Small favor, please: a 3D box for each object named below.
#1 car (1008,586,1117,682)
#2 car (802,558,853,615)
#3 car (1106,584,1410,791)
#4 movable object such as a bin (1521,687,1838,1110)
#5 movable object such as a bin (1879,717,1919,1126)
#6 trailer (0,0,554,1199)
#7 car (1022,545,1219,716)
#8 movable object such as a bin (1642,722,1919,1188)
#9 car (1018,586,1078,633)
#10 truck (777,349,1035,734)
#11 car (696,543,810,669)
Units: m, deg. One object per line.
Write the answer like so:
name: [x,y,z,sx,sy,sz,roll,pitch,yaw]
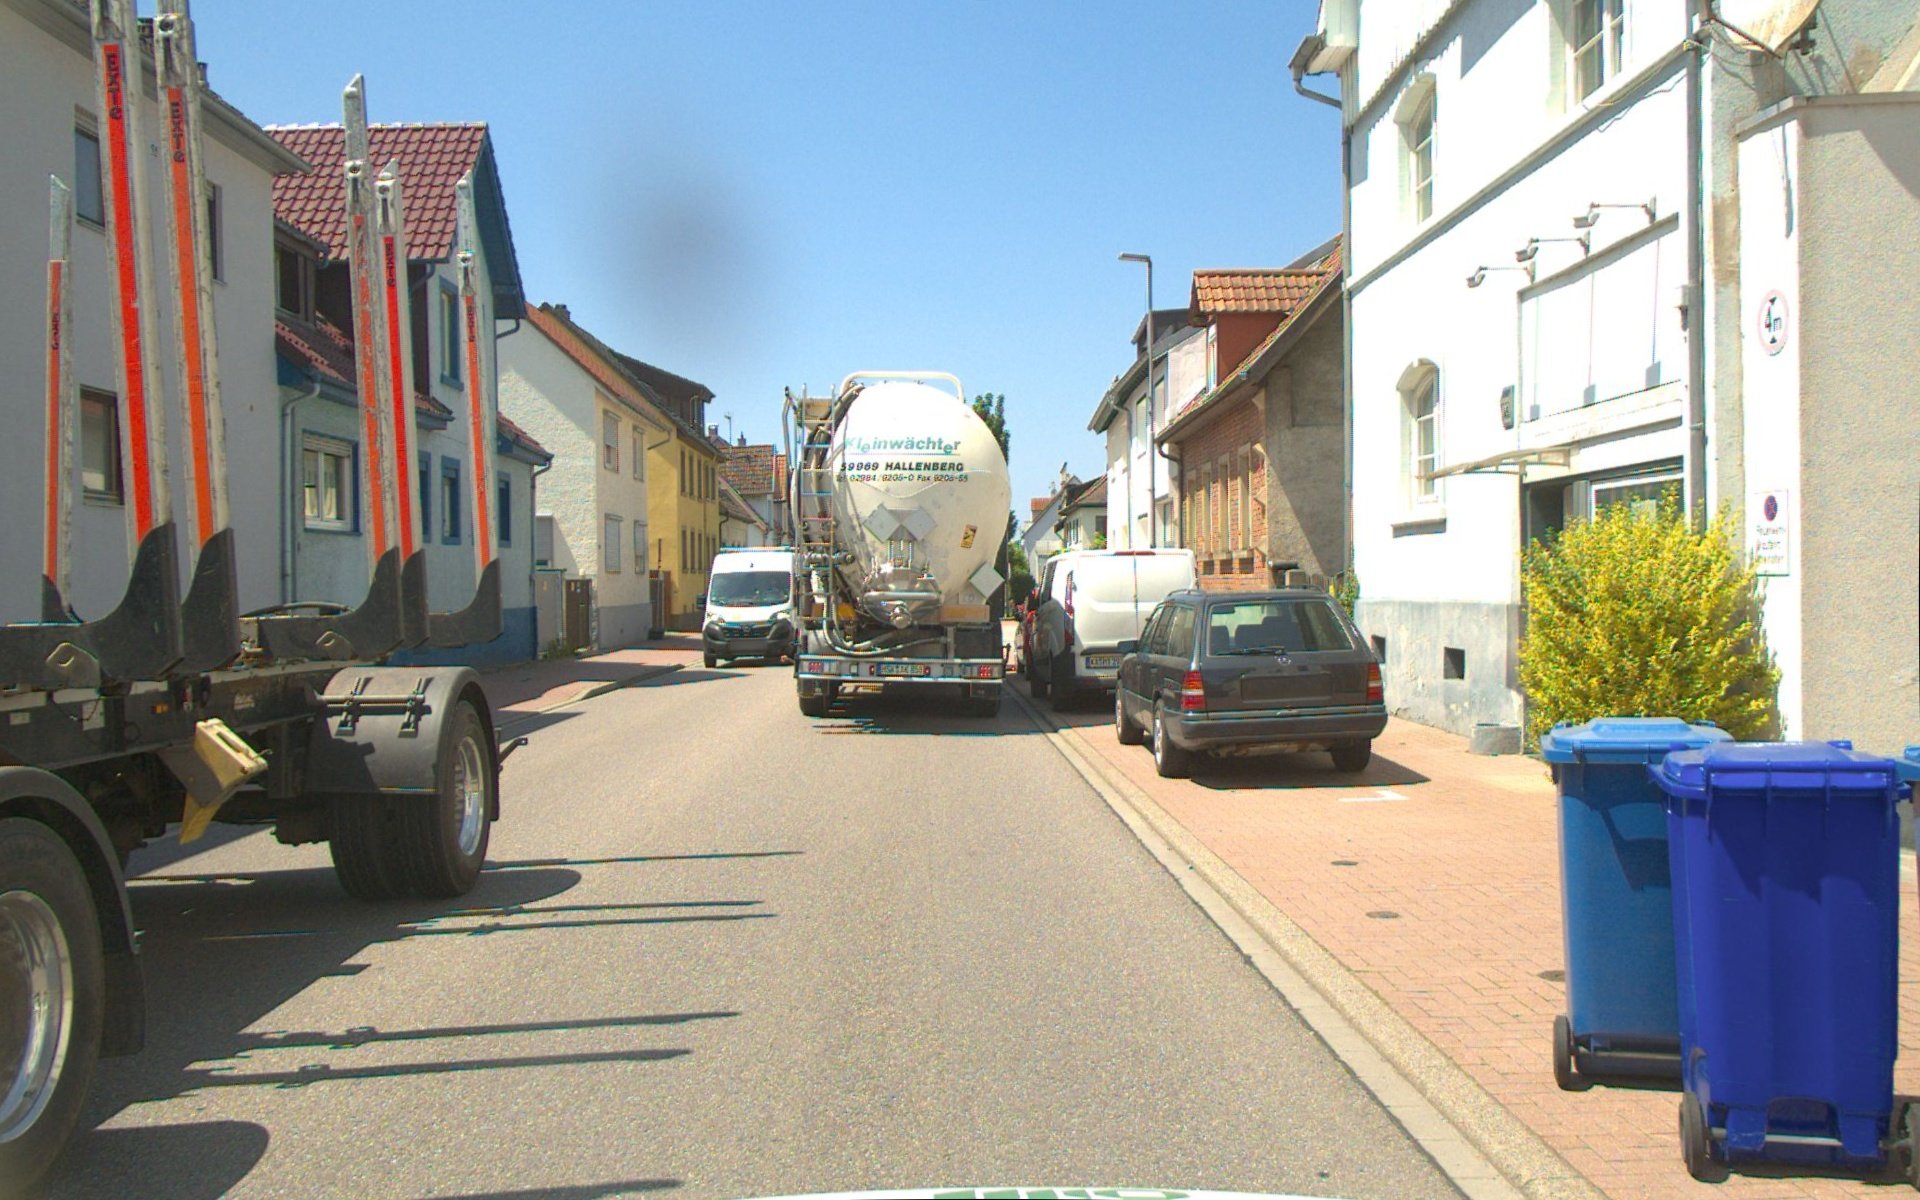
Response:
car: [1.756,0.543,29.256,1.577,1.555,3.675,-1,0,-2]
car: [-5.825,-0.597,73.397,2.010,2.395,6.078,-1,0,-3]
car: [2.406,0.625,14.511,1.734,1.491,4.576,-1,0,-1]
movable object such as a bin: [2.158,0.856,5.083,0.707,1.092,0.973,-2,0,14]
movable object such as a bin: [2.821,0.865,4.183,0.640,1.078,0.836,-2,0,14]
trailer: [-3.363,-0.519,1.652,2.578,4.048,15.690,-2,0,-2]
car: [2.024,0.345,22.274,1.907,2.005,4.782,-1,0,-3]
movable object such as a bin: [2.204,0.884,4.337,0.641,1.053,0.685,-2,0,14]
car: [3.247,0.315,60.233,1.777,1.488,4.889,4,1,7]
truck: [-0.717,-0.603,21.571,2.678,4.029,8.138,1,0,-2]
car: [-4.588,0.104,37.447,2.083,2.586,5.458,-2,0,-3]
